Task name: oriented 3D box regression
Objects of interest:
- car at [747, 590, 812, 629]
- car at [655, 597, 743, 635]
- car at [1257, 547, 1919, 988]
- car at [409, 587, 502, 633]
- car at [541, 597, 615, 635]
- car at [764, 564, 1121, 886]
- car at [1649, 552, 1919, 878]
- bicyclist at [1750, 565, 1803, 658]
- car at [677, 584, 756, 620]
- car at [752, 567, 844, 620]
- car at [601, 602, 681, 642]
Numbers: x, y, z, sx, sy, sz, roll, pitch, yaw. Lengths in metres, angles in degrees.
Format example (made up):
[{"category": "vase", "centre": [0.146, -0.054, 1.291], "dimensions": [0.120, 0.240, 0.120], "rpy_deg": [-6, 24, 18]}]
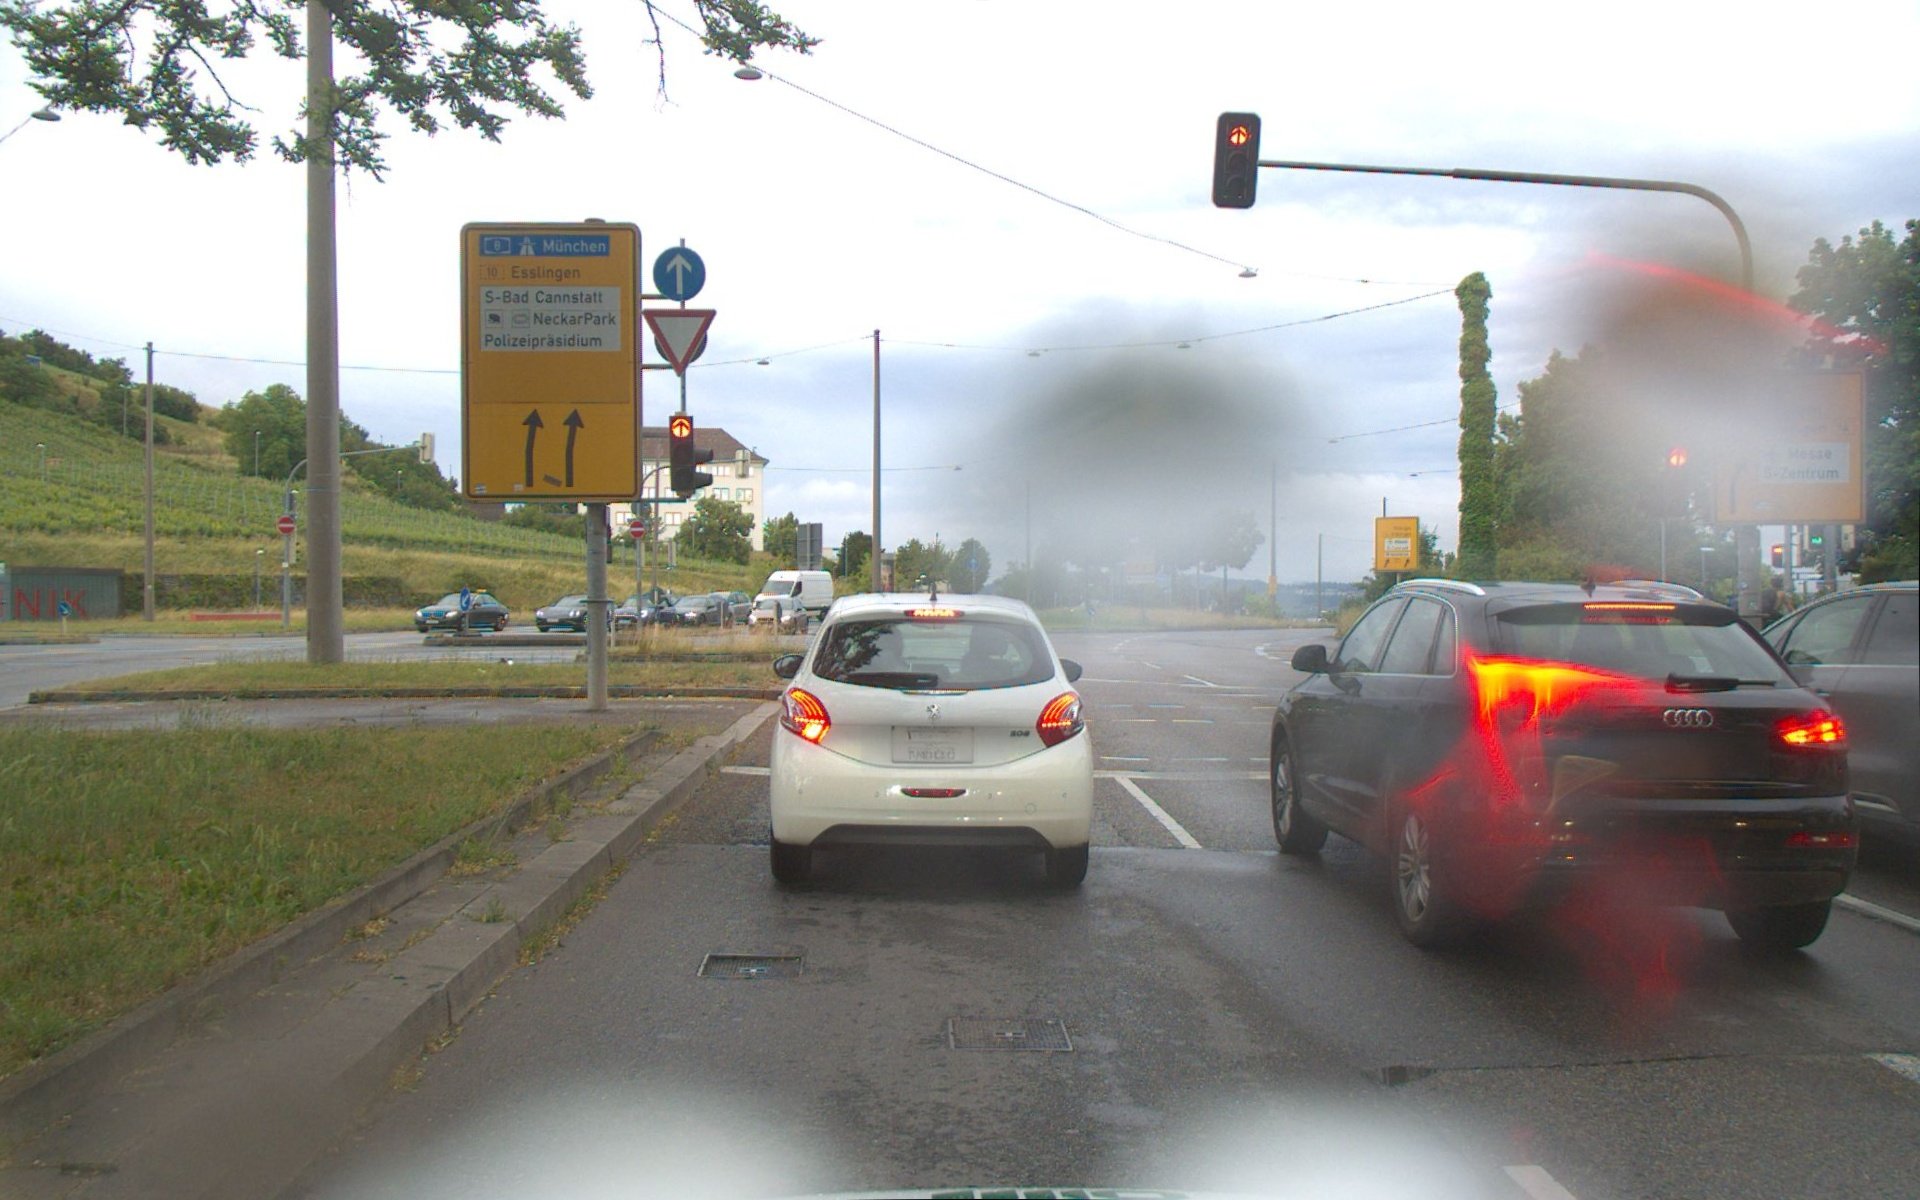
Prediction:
[{"category": "car", "centre": [-7.000, 0.385, 64.378], "dimensions": [1.738, 1.450, 4.376], "rpy_deg": [0, 0, 4]}, {"category": "car", "centre": [-10.910, 0.678, 69.501], "dimensions": [1.861, 1.515, 4.896], "rpy_deg": [2, 0, 14]}, {"category": "car", "centre": [2.852, 0.650, 8.346], "dimensions": [1.846, 1.623, 4.112], "rpy_deg": [2, 0, -1]}, {"category": "car", "centre": [-19.301, 0.387, 63.495], "dimensions": [1.791, 1.652, 4.569], "rpy_deg": [2, 0, 5]}, {"category": "car", "centre": [-15.121, 0.646, 65.638], "dimensions": [1.749, 1.420, 3.884], "rpy_deg": [1, -1, 5]}, {"category": "car", "centre": [-0.130, 0.606, 9.888], "dimensions": [1.683, 1.515, 3.999], "rpy_deg": [1, 0, -2]}, {"category": "car", "centre": [5.903, 0.599, 9.508], "dimensions": [1.827, 1.703, 4.564], "rpy_deg": [1, 1, -2]}, {"category": "bicyclist", "centre": [14.549, 0.205, 29.480], "dimensions": [0.793, 1.611, 1.022], "rpy_deg": [2, -1, 26]}, {"category": "car", "centre": [-11.625, 0.093, 79.259], "dimensions": [1.952, 1.603, 4.195], "rpy_deg": [2, 0, 21]}, {"category": "car", "centre": [-8.478, -0.309, 87.418], "dimensions": [1.954, 2.604, 6.165], "rpy_deg": [2, 0, 25]}, {"category": "car", "centre": [-12.195, 0.861, 63.484], "dimensions": [1.748, 1.420, 3.885], "rpy_deg": [1, -1, 9]}]
